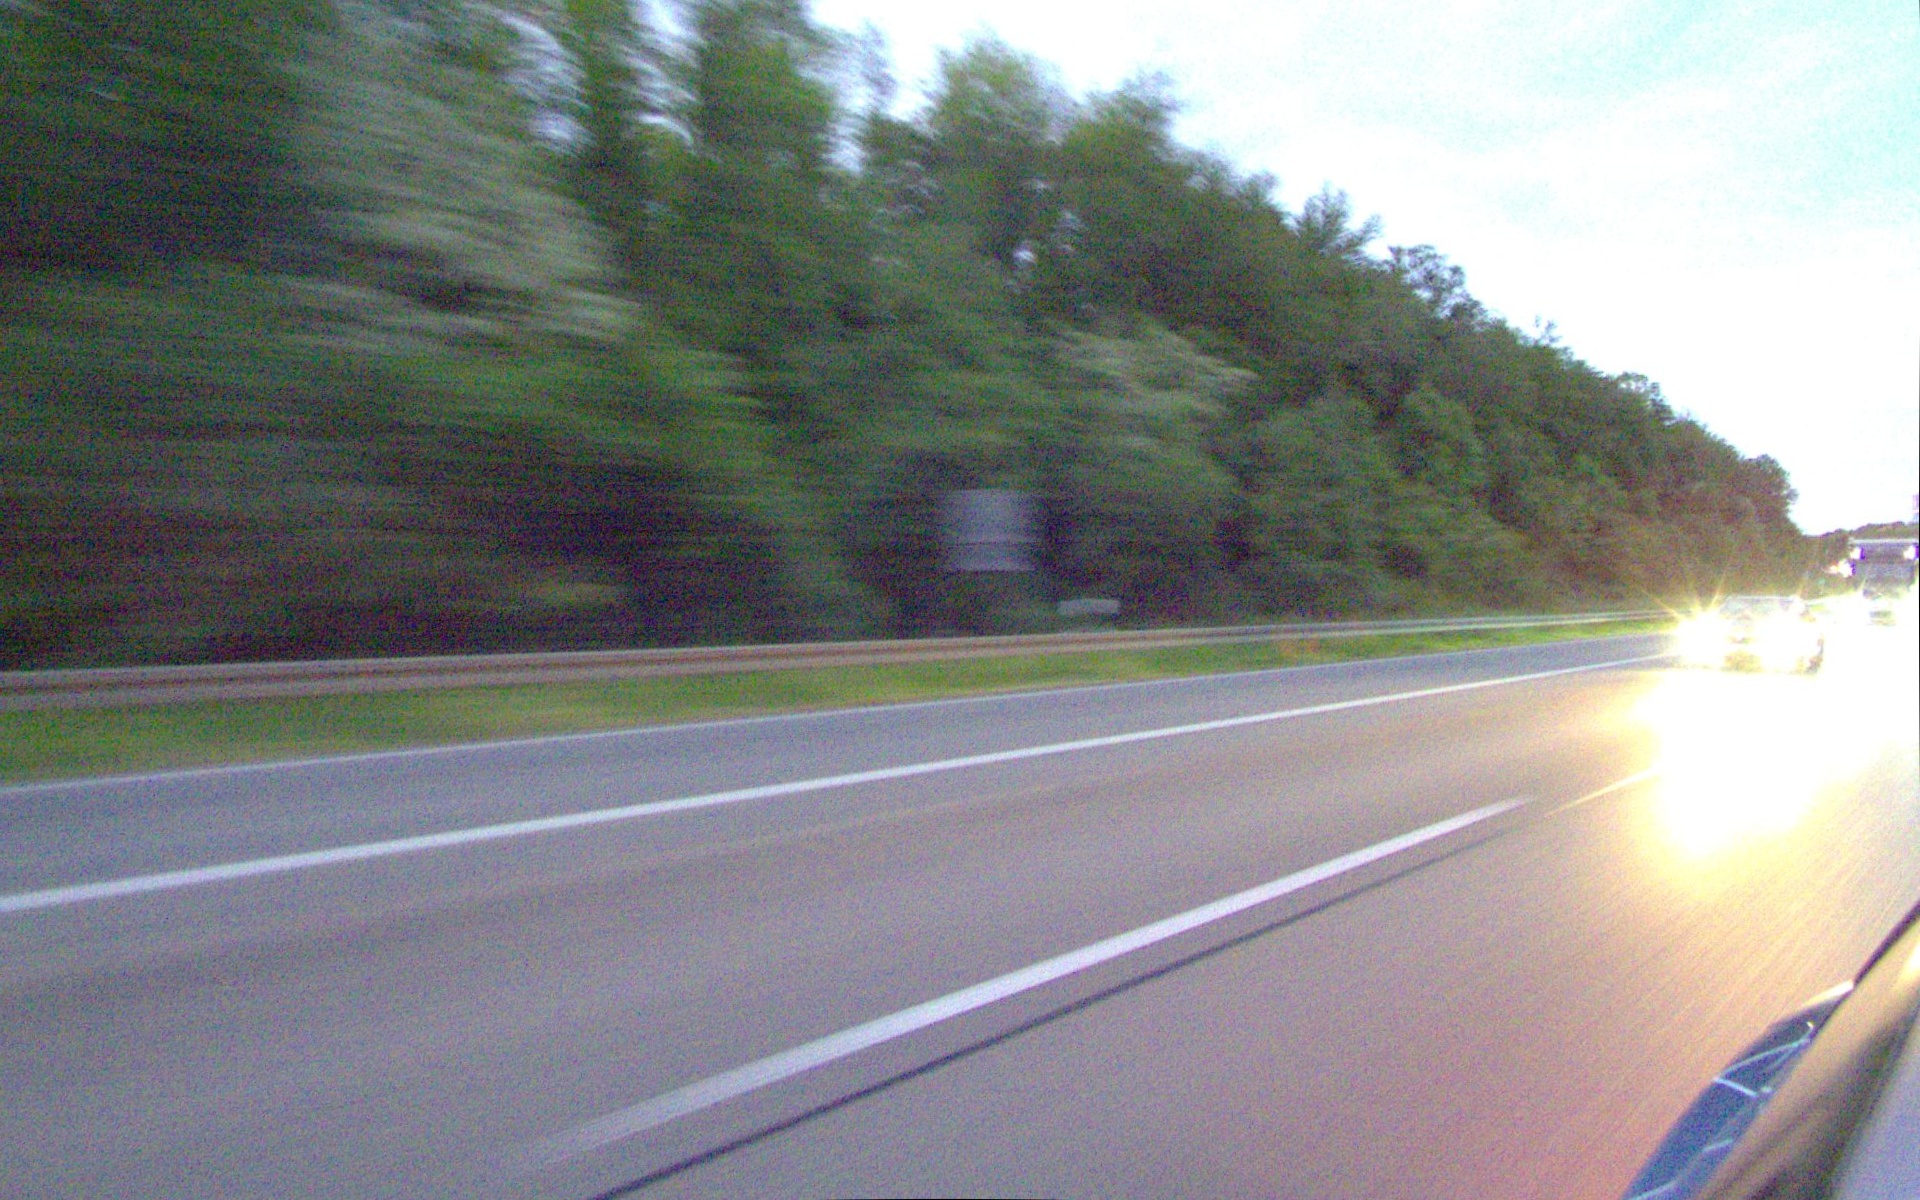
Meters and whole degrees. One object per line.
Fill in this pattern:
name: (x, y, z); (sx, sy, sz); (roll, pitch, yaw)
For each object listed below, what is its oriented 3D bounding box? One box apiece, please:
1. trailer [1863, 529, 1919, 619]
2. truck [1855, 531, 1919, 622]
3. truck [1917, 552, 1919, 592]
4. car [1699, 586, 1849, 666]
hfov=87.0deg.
trailer: (48.575, -1.402, 51.933); (13.286, 4.123, 2.484); (-2, 2, -45)
truck: (43.886, -1.114, 47.353); (5.497, 4.017, 2.494); (-2, 1, -43)
truck: (101.996, -2.983, 105.401); (3.332, 4.017, 13.328); (0, 2, 43)
car: (17.244, 0.495, 21.356); (4.863, 1.509, 1.694); (0, 0, -42)
